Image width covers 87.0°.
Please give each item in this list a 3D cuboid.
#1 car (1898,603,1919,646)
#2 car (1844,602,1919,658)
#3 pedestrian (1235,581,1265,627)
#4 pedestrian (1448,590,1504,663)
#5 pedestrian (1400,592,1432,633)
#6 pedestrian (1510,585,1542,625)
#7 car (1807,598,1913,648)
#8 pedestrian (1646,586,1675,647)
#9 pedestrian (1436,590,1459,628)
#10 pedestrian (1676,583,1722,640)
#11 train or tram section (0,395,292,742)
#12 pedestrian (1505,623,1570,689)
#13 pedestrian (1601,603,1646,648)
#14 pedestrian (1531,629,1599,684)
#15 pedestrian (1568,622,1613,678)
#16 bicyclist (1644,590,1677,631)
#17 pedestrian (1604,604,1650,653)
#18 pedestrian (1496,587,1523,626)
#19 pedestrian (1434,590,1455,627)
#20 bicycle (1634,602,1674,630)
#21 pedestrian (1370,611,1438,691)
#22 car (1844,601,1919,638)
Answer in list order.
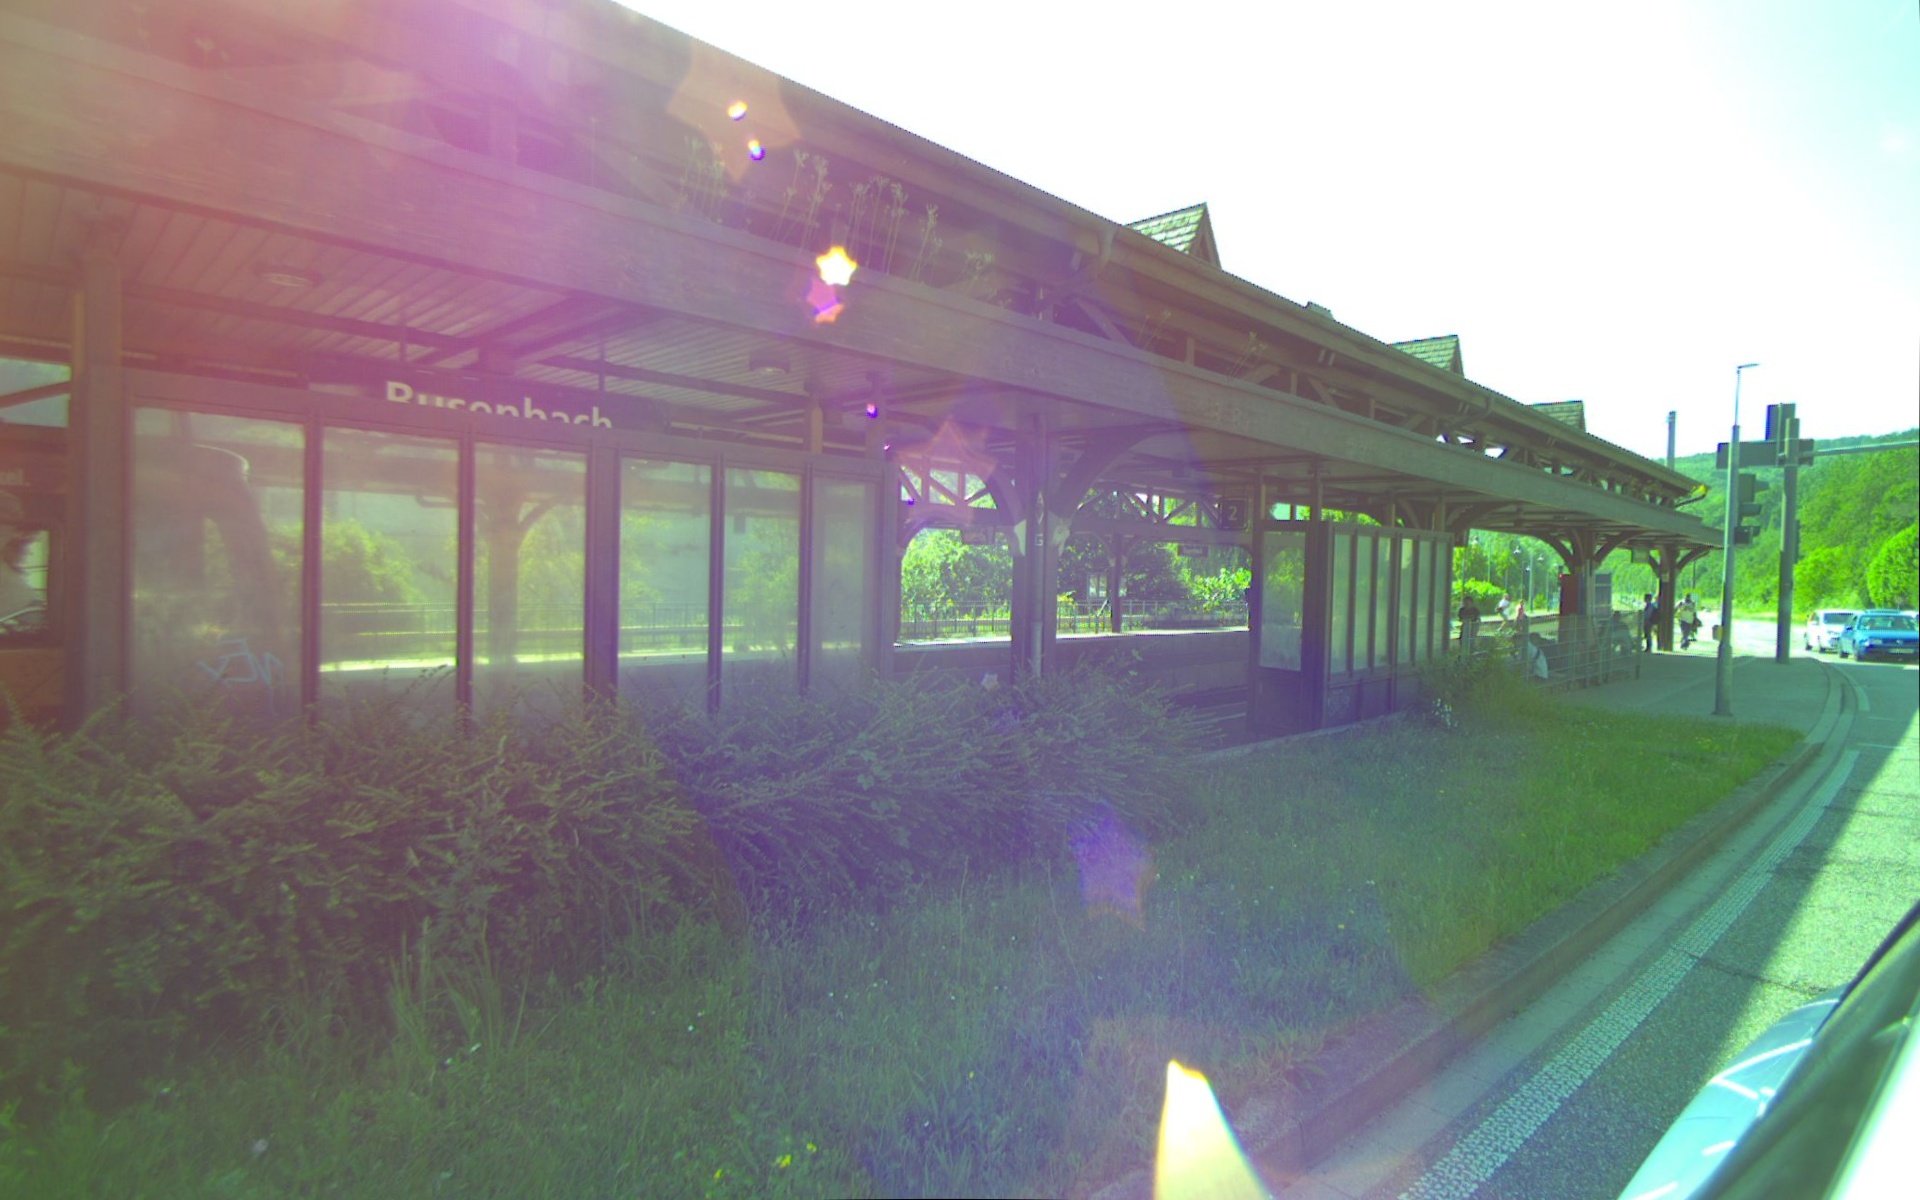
[{"bbox_3d":[35.638,0.900,36.326,1.965,1.523,4.697,0,-1,31],"label":"car"},{"bbox_3d":[27.385,0.837,29.527,1.854,1.501,4.248,2,1,34],"label":"car"},{"bbox_3d":[10.865,0.169,37.962,0.888,1.706,0.735,2,-2,-41],"label":"pedestrian"},{"bbox_3d":[11.514,0.573,22.583,0.860,1.567,0.908,1,-1,43],"label":"pedestrian"},{"bbox_3d":[20.924,0.566,46.435,1.054,1.867,0.989,3,-2,-42],"label":"pedestrian"},{"bbox_3d":[24.528,0.234,43.838,0.805,1.706,0.905,1,-2,-8],"label":"pedestrian"},{"bbox_3d":[30.996,0.772,34.973,1.984,1.605,3.955,-1,-1,31],"label":"car"},{"bbox_3d":[20.143,0.473,29.112,0.655,1.713,0.730,2,1,35],"label":"pedestrian"},{"bbox_3d":[22.041,0.427,45.756,0.895,1.706,0.815,0,-2,26],"label":"pedestrian"},{"bbox_3d":[23.135,0.373,31.716,0.907,1.759,1.240,-1,-2,25],"label":"pedestrian"},{"bbox_3d":[-13.763,-0.327,7.802,14.112,3.407,2.859,0,0,-43],"label":"train or tram section"},{"bbox_3d":[9.103,0.871,15.948,0.741,0.995,0.757,-1,-2,42],"label":"pedestrian"},{"bbox_3d":[18.037,0.686,27.499,1.003,1.174,0.937,1,0,35],"label":"pedestrian"},{"bbox_3d":[10.145,0.930,16.959,0.844,0.885,0.795,-1,-2,42],"label":"pedestrian"},{"bbox_3d":[11.247,0.884,18.049,0.616,0.978,0.400,-1,-2,42],"label":"pedestrian"},{"bbox_3d":[27.426,0.404,39.648,0.776,1.589,0.942,-1,-1,17],"label":"bicyclist"},{"bbox_3d":[17.418,0.747,26.438,0.988,1.251,0.589,-1,-2,36],"label":"pedestrian"},{"bbox_3d":[24.303,0.279,44.773,0.864,1.706,0.810,-1,-2,42],"label":"pedestrian"},{"bbox_3d":[22.470,0.385,46.972,0.669,1.706,0.560,1,-2,-20],"label":"pedestrian"},{"bbox_3d":[27.248,0.615,39.760,0.594,1.069,1.808,-1,-1,10],"label":"bicycle"},{"bbox_3d":[6.464,0.727,14.725,0.741,1.131,0.657,-1,-2,42],"label":"pedestrian"},{"bbox_3d":[40.198,0.830,44.037,1.965,1.523,3.941,0,-1,31],"label":"car"}]
